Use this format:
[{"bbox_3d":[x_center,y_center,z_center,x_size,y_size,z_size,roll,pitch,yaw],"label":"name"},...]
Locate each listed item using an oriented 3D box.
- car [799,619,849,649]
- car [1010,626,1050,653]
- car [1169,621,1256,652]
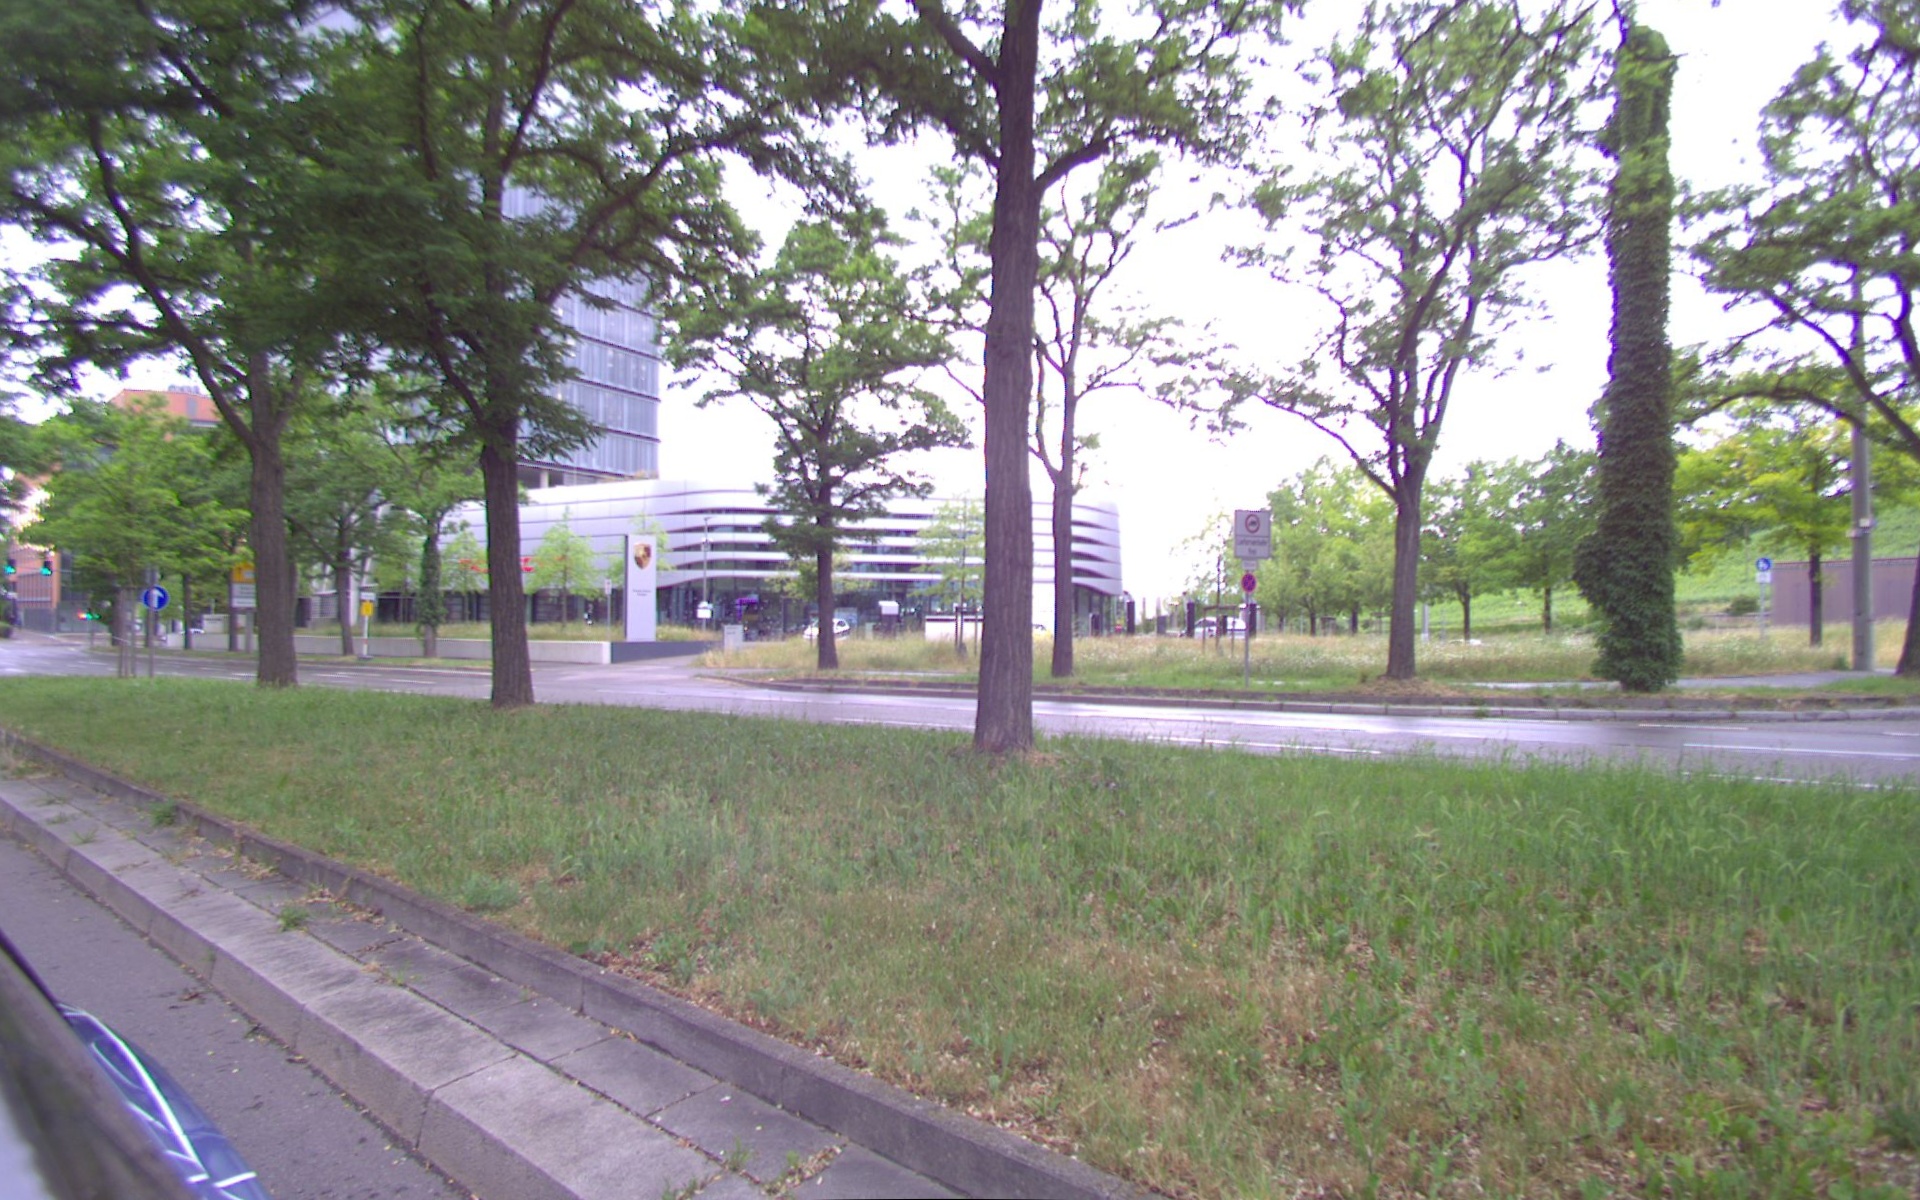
[{"bbox_3d":[-7.554,1.883,56.540,1.757,1.423,3.992,-1,1,7],"label":"car"},{"bbox_3d":[4.144,2.291,59.307,1.605,1.334,3.981,-1,1,15],"label":"car"},{"bbox_3d":[11.660,1.656,46.954,1.592,1.254,4.012,-2,1,-30],"label":"car"}]
